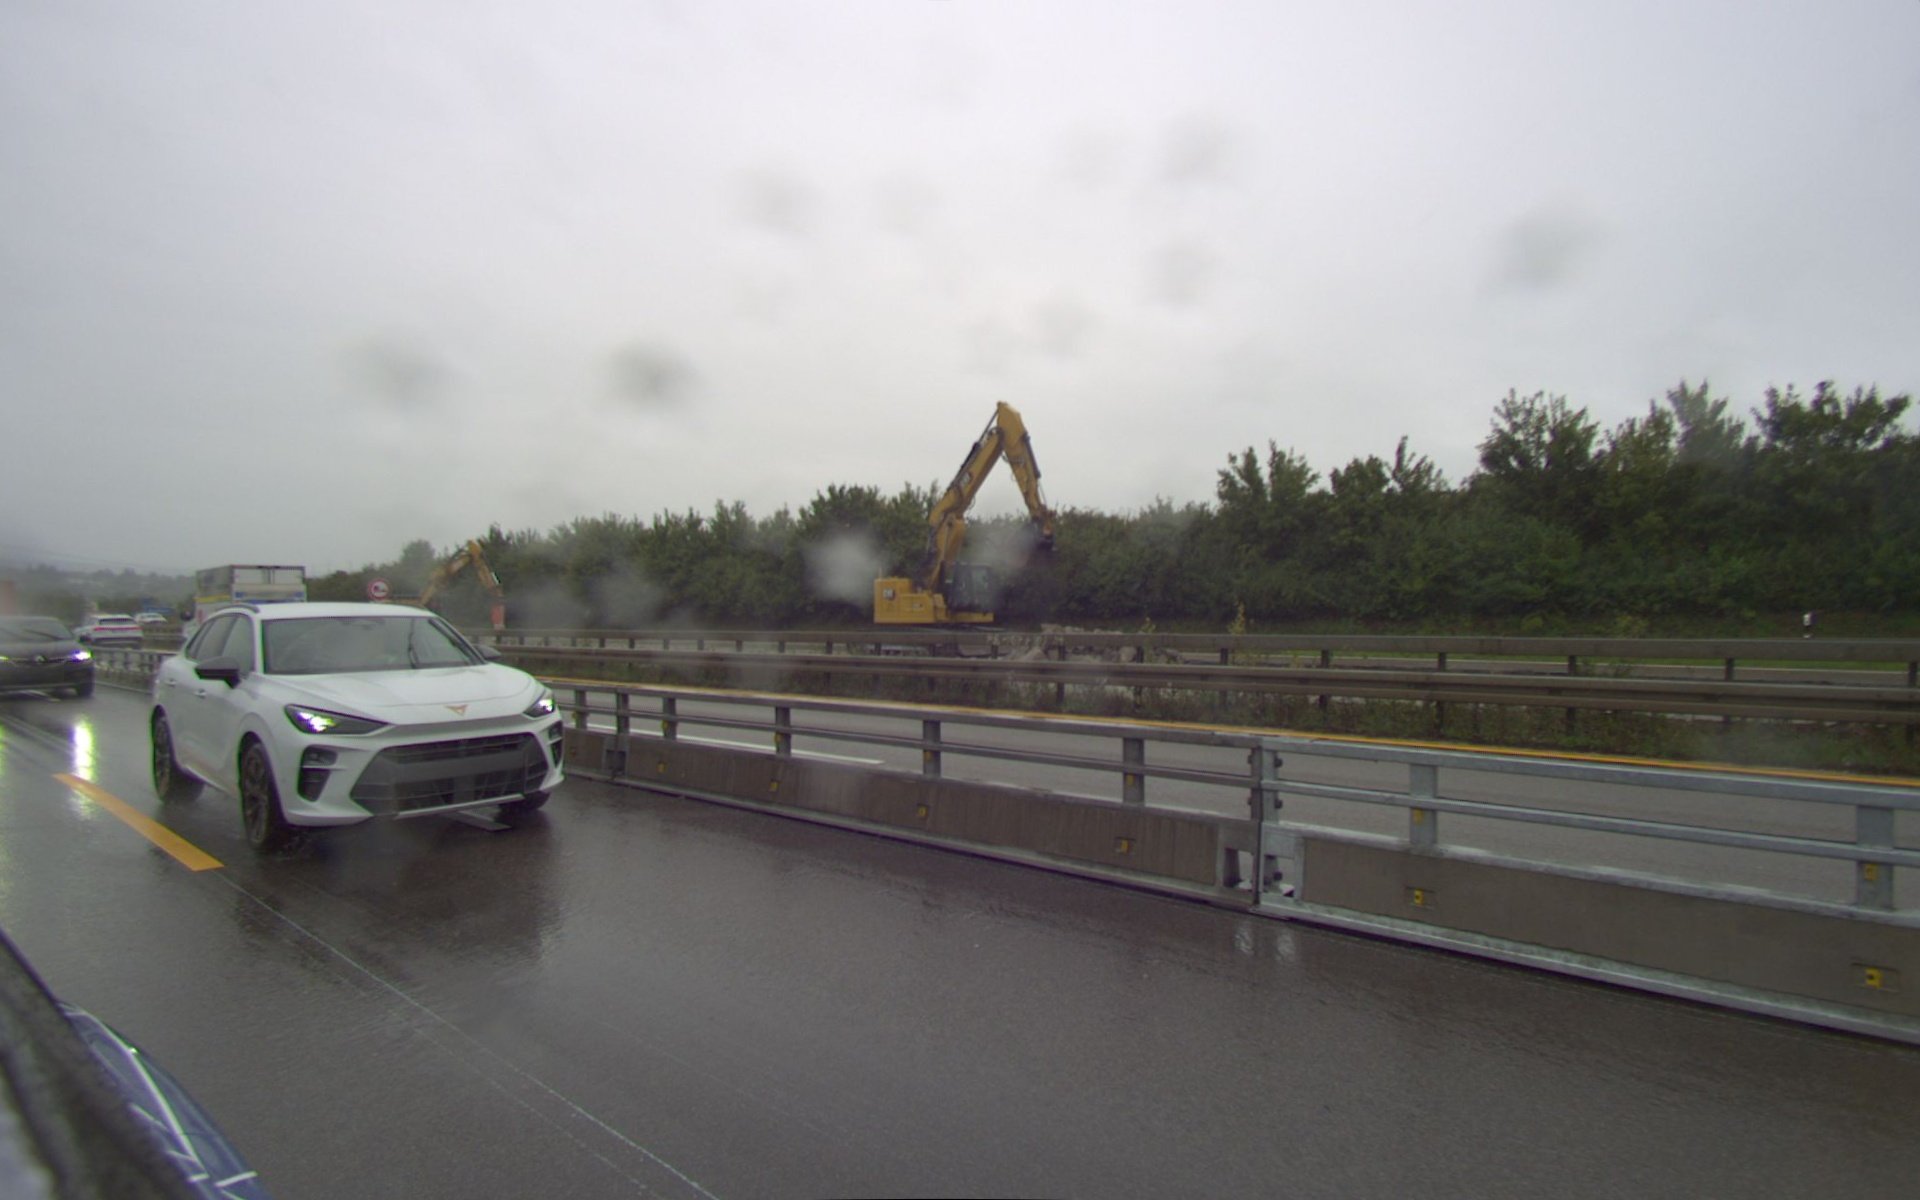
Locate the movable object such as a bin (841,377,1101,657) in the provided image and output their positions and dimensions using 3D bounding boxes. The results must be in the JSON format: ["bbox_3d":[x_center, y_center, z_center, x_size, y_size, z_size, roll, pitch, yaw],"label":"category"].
[{"bbox_3d":[0.181,-2.420,33.766,8.306,8.204,3.558,-1,0,42],"label":"movable object such as a bin"}]

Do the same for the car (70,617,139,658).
[{"bbox_3d":[-37.780,1.607,44.646,4.541,1.681,1.619,-1,0,41],"label":"car"}]

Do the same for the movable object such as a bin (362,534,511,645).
[{"bbox_3d":[-31.097,-0.568,59.826,11.042,5.959,4.127,-1,0,42],"label":"movable object such as a bin"}]

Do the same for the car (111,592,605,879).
[{"bbox_3d":[-4.942,0.765,7.922,5.005,1.562,1.907,-1,0,42],"label":"car"}]

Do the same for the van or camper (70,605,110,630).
[{"bbox_3d":[-152.869,3.037,177.822,8.488,4.356,3.338,-1,0,36],"label":"van or camper"}]

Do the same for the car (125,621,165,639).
[{"bbox_3d":[-88.663,3.242,110.080,5.355,1.981,2.074,-1,-1,37],"label":"car"}]

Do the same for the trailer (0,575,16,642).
[{"bbox_3d":[-66.768,0.596,68.338,11.049,4.327,2.946,-1,-2,40],"label":"trailer"}]

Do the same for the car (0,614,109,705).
[{"bbox_3d":[-19.033,1.127,20.487,5.193,1.640,2.042,-1,-1,42],"label":"car"}]

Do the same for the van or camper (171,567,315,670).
[{"bbox_3d":[-23.464,0.557,32.990,6.695,3.064,2.270,-1,0,41],"label":"van or camper"}]
